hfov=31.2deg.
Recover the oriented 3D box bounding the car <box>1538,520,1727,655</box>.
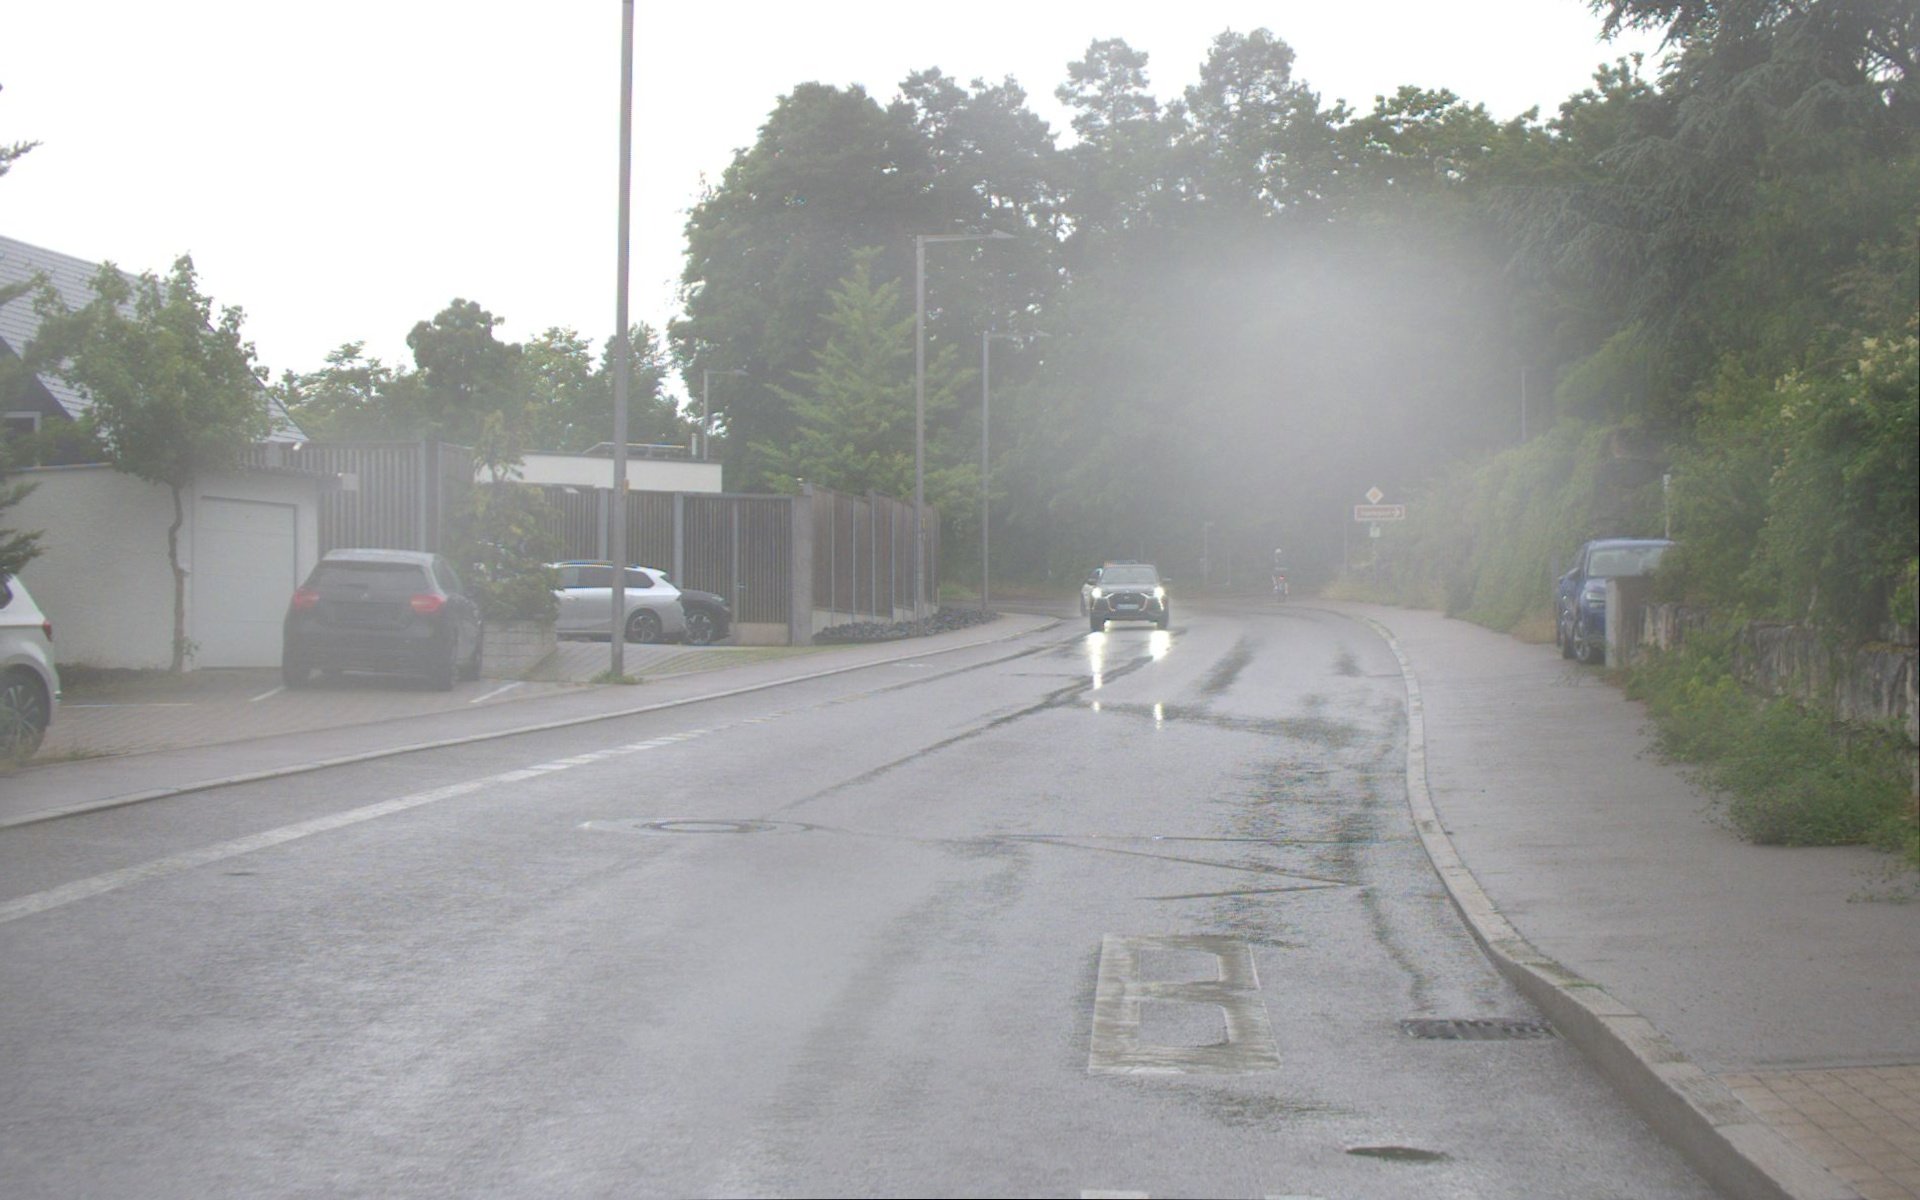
[{"bbox_3d":[9.137,-0.184,47.023,1.994,1.664,4.543,-3,0,5],"label":"car"}]

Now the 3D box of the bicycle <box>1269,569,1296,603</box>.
[{"bbox_3d":[10.456,-0.461,111.430,0.527,1.081,1.621,1,1,-7],"label":"bicycle"}]

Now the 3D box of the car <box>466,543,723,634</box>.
[{"bbox_3d":[-6.686,-0.205,62.934,4.279,1.595,1.838,1,1,-27],"label":"car"}]

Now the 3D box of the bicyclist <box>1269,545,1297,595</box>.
[{"bbox_3d":[10.464,-0.963,111.436,0.720,1.609,0.905,1,1,-6],"label":"bicyclist"}]

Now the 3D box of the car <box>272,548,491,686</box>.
[{"bbox_3d":[-6.260,0.149,37.623,1.833,1.401,4.260,1,1,-2],"label":"car"}]

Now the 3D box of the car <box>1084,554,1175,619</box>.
[{"bbox_3d":[3.996,-0.328,80.483,1.851,1.464,3.698,1,1,7],"label":"car"}]

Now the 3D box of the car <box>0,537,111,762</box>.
[{"bbox_3d":[-7.739,0.333,23.165,1.707,1.548,4.384,1,1,21],"label":"car"}]

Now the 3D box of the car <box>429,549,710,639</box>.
[{"bbox_3d":[-6.778,-0.097,59.825,4.518,1.437,1.761,1,0,-32],"label":"car"}]
